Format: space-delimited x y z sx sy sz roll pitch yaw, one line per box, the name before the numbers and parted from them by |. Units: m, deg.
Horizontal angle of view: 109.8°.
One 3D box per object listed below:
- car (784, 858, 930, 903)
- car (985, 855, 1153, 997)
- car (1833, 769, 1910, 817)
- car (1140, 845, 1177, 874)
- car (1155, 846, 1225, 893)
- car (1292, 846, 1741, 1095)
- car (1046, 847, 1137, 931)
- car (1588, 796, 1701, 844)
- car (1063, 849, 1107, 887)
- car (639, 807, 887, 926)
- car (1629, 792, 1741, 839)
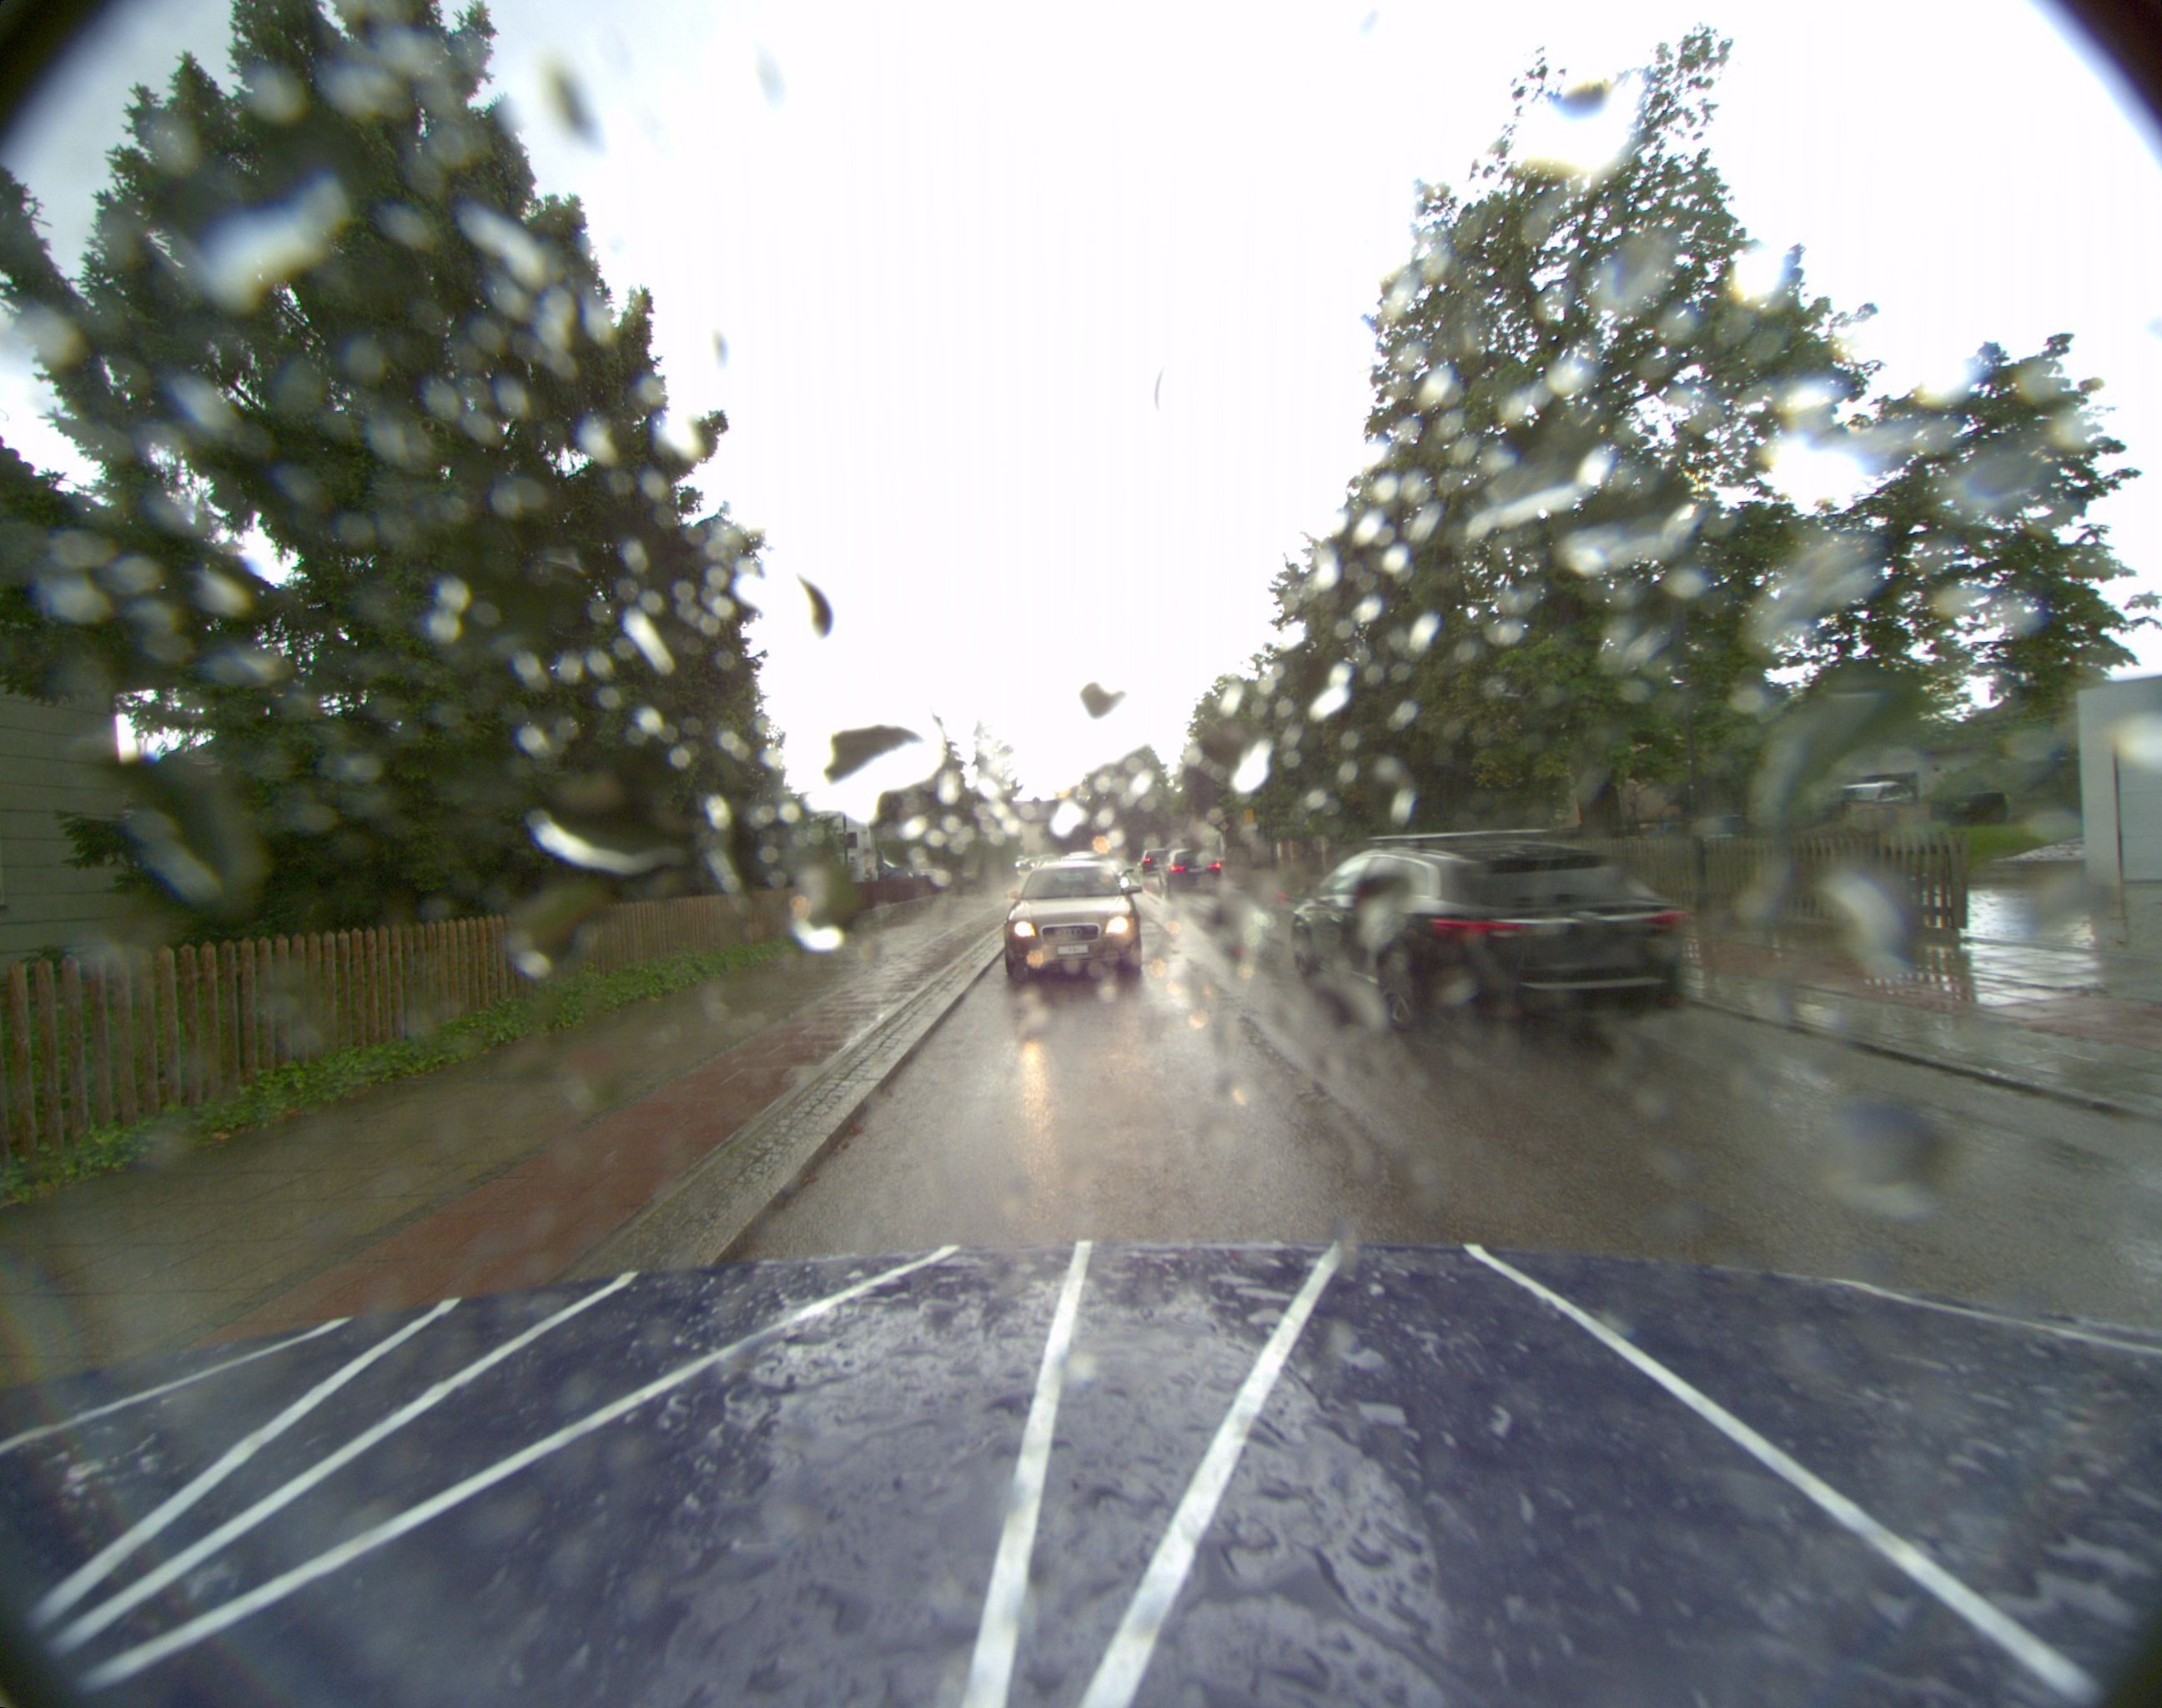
car | -7.393 0.848 25.497 4.443 1.413 1.829 0 1 -7
car | -0.113 0.837 10.877 1.872 1.512 4.188 -3 1 1
car | 40.664 -3.099 39.068 3.857 2.281 1.782 -3 1 -29
car | 4.464 0.285 44.145 1.712 1.457 3.999 -4 1 1
car | 3.821 0.488 27.286 1.785 1.457 4.374 -4 1 0
car | 3.276 0.720 6.794 1.642 1.512 4.188 -1 0 1
car | 0.258 0.741 18.974 1.872 1.603 4.960 -4 1 1
car | 26.006 -1.549 35.173 1.845 1.792 3.649 -6 0 -33
car | 0.197 0.615 36.955 1.872 1.512 4.960 -4 1 1
car | -7.638 0.272 18.806 5.321 2.712 1.998 0 1 -9
car | 28.764 -1.825 36.280 1.845 1.792 3.649 -6 0 -33
